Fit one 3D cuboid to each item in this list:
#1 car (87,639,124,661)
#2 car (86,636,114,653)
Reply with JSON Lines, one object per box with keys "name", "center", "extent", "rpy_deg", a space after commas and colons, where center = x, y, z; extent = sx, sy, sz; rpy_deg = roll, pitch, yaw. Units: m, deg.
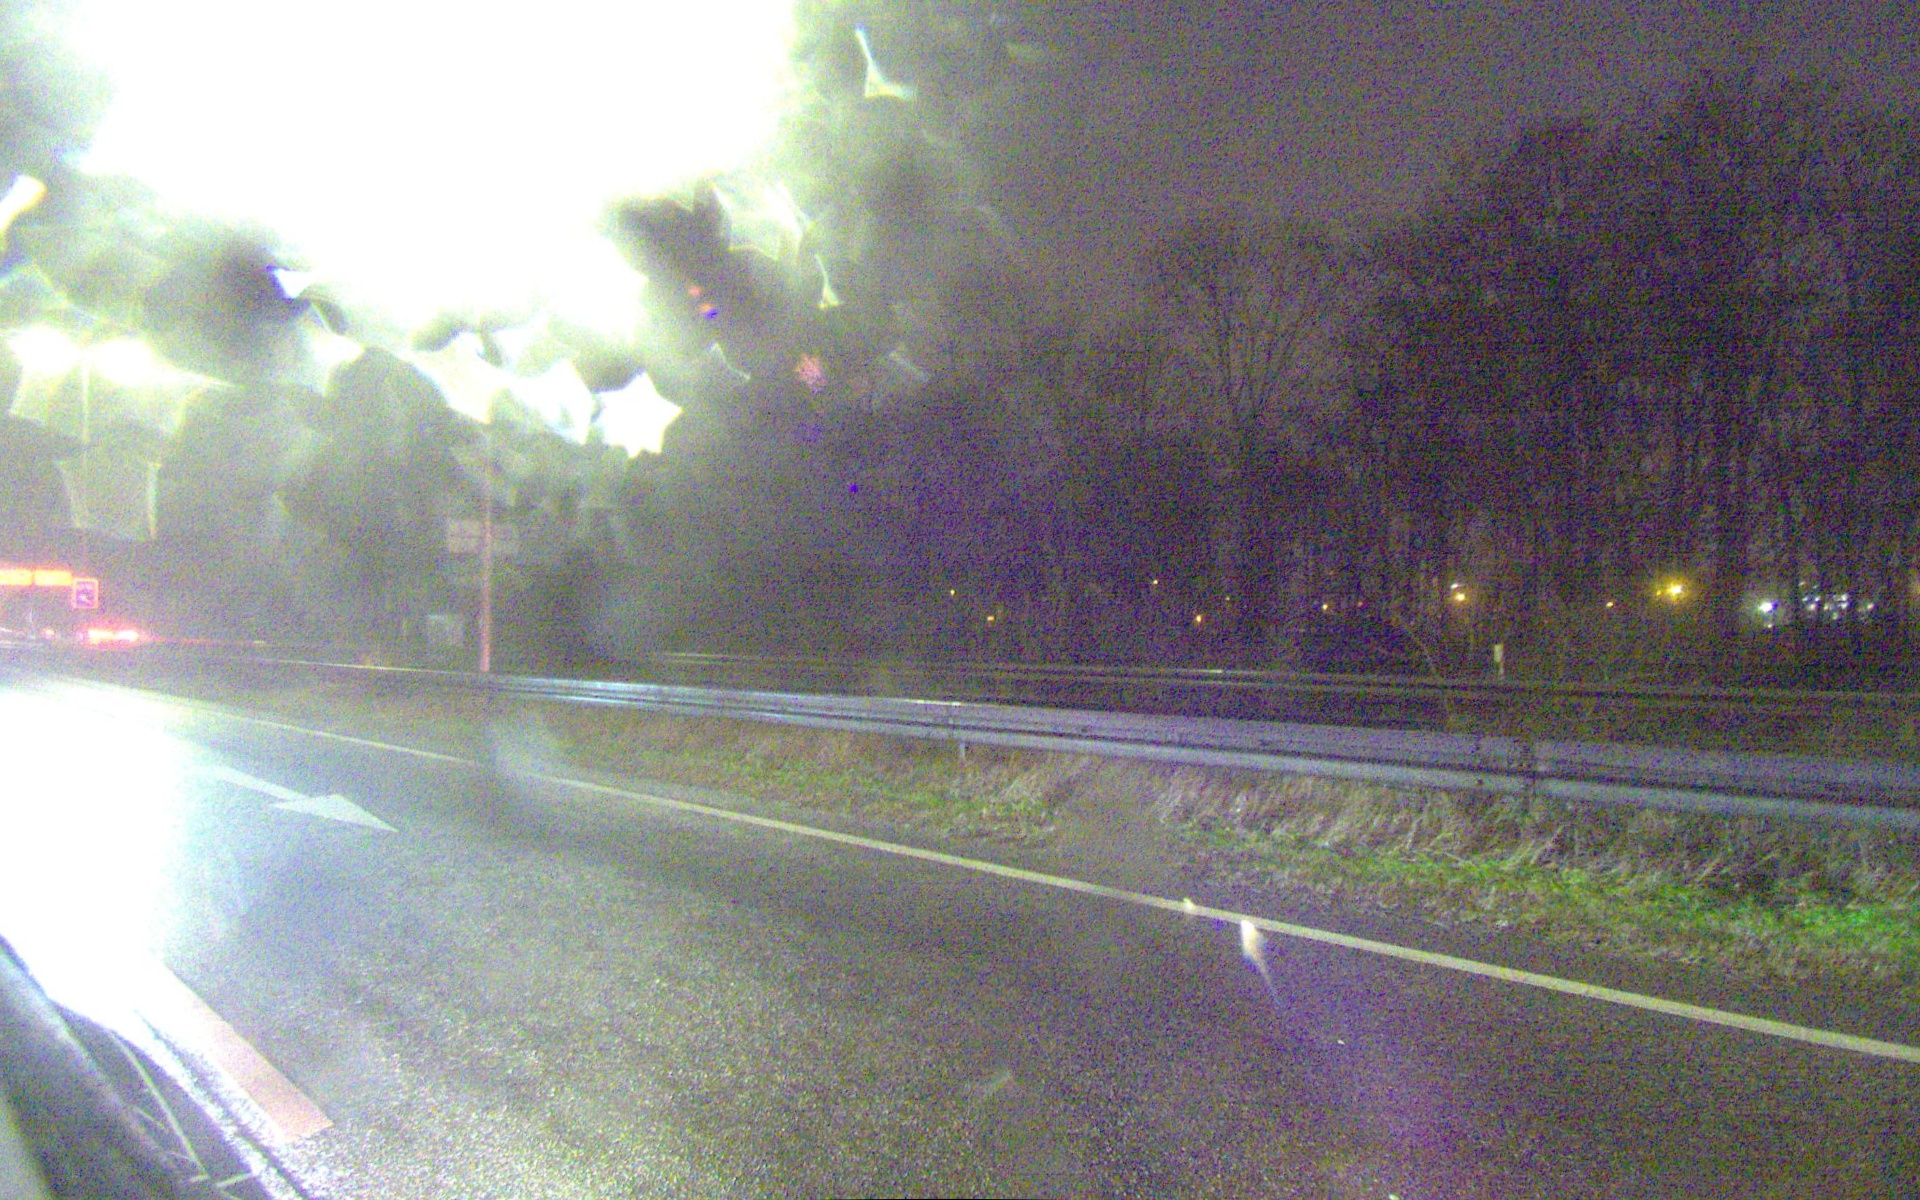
{"name": "car", "center": [-69.754, 4.065, 82.582], "extent": [4.000, 1.660, 1.842], "rpy_deg": [-2, -1, 43]}
{"name": "car", "center": [-94.204, 4.858, 110.813], "extent": [3.999, 1.660, 1.793], "rpy_deg": [-2, -1, 42]}
